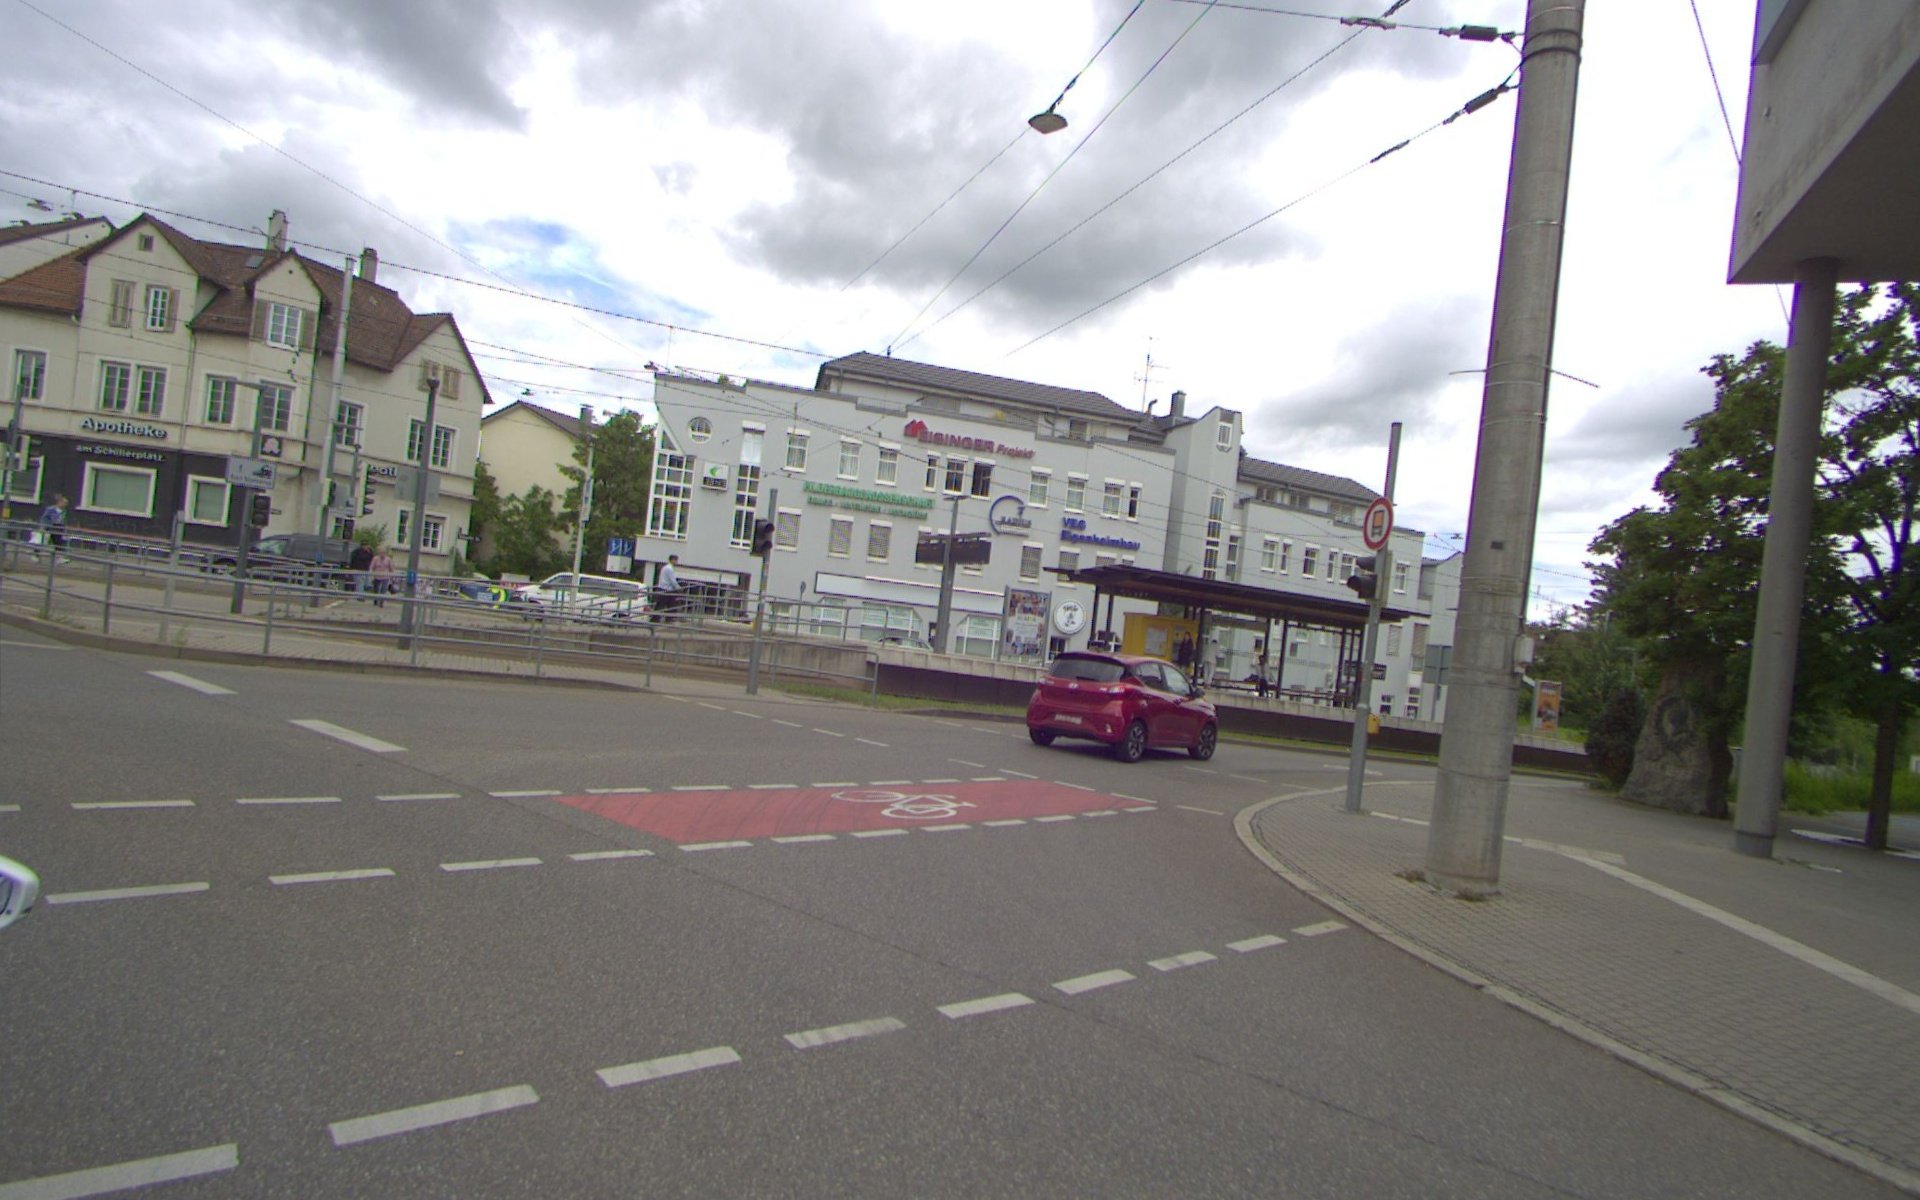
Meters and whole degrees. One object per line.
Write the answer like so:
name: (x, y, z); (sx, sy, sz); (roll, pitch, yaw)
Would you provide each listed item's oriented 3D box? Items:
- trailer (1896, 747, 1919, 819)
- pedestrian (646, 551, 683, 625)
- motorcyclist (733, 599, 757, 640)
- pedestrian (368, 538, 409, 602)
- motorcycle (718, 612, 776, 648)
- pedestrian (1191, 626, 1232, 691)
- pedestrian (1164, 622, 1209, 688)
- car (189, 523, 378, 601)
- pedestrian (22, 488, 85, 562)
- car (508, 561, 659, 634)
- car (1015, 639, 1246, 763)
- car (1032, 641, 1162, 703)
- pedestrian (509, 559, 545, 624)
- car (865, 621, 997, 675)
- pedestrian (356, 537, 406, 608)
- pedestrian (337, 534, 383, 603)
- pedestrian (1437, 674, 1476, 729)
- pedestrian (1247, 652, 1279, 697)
trailer: (38.352, 7.255, 38.924); (4.279, 2.643, 1.869); (8, -2, -31)
pedestrian: (-7.310, -0.298, 24.856); (0.641, 1.739, 0.701); (7, 0, -23)
motorcyclist: (-7.956, 0.723, 37.217); (0.682, 1.410, 0.762); (7, -2, -15)
pedestrian: (-16.691, -0.867, 29.366); (0.782, 1.738, 0.644); (9, -1, -35)
motorcycle: (-7.892, 1.127, 37.236); (1.950, 1.086, 0.762); (8, -2, -15)
pedestrian: (7.457, 1.727, 29.866); (0.776, 1.795, 0.689); (7, -1, 34)
pedestrian: (6.504, 1.576, 28.911); (0.781, 1.738, 0.685); (9, -1, -30)
car: (-21.928, -1.171, 32.843); (4.633, 1.841, 1.856); (8, -2, -22)
pedestrian: (-23.295, -1.915, 25.872); (0.714, 1.739, 0.843); (7, 0, 21)
car: (-13.372, -0.038, 36.076); (4.710, 1.941, 1.985); (8, -2, -15)
car: (2.737, 1.588, 15.416); (1.678, 1.469, 3.988); (7, -2, 38)
car: (5.575, 2.927, 41.083); (4.710, 1.941, 1.985); (8, -2, -15)
pedestrian: (-12.236, -0.247, 28.444); (0.640, 1.738, 0.786); (8, -1, -19)
car: (-1.156, 1.875, 39.494); (4.710, 1.487, 1.986); (8, -2, -15)
pedestrian: (-15.272, -0.721, 26.532); (0.641, 1.738, 0.786); (7, -2, 42)
pedestrian: (-16.295, -0.849, 27.321); (0.638, 1.739, 0.703); (7, 0, 29)
pedestrian: (17.022, 3.472, 34.482); (0.685, 1.738, 0.781); (9, -2, -38)
pedestrian: (9.430, 2.314, 31.284); (0.582, 1.279, 0.567); (9, -1, -24)
